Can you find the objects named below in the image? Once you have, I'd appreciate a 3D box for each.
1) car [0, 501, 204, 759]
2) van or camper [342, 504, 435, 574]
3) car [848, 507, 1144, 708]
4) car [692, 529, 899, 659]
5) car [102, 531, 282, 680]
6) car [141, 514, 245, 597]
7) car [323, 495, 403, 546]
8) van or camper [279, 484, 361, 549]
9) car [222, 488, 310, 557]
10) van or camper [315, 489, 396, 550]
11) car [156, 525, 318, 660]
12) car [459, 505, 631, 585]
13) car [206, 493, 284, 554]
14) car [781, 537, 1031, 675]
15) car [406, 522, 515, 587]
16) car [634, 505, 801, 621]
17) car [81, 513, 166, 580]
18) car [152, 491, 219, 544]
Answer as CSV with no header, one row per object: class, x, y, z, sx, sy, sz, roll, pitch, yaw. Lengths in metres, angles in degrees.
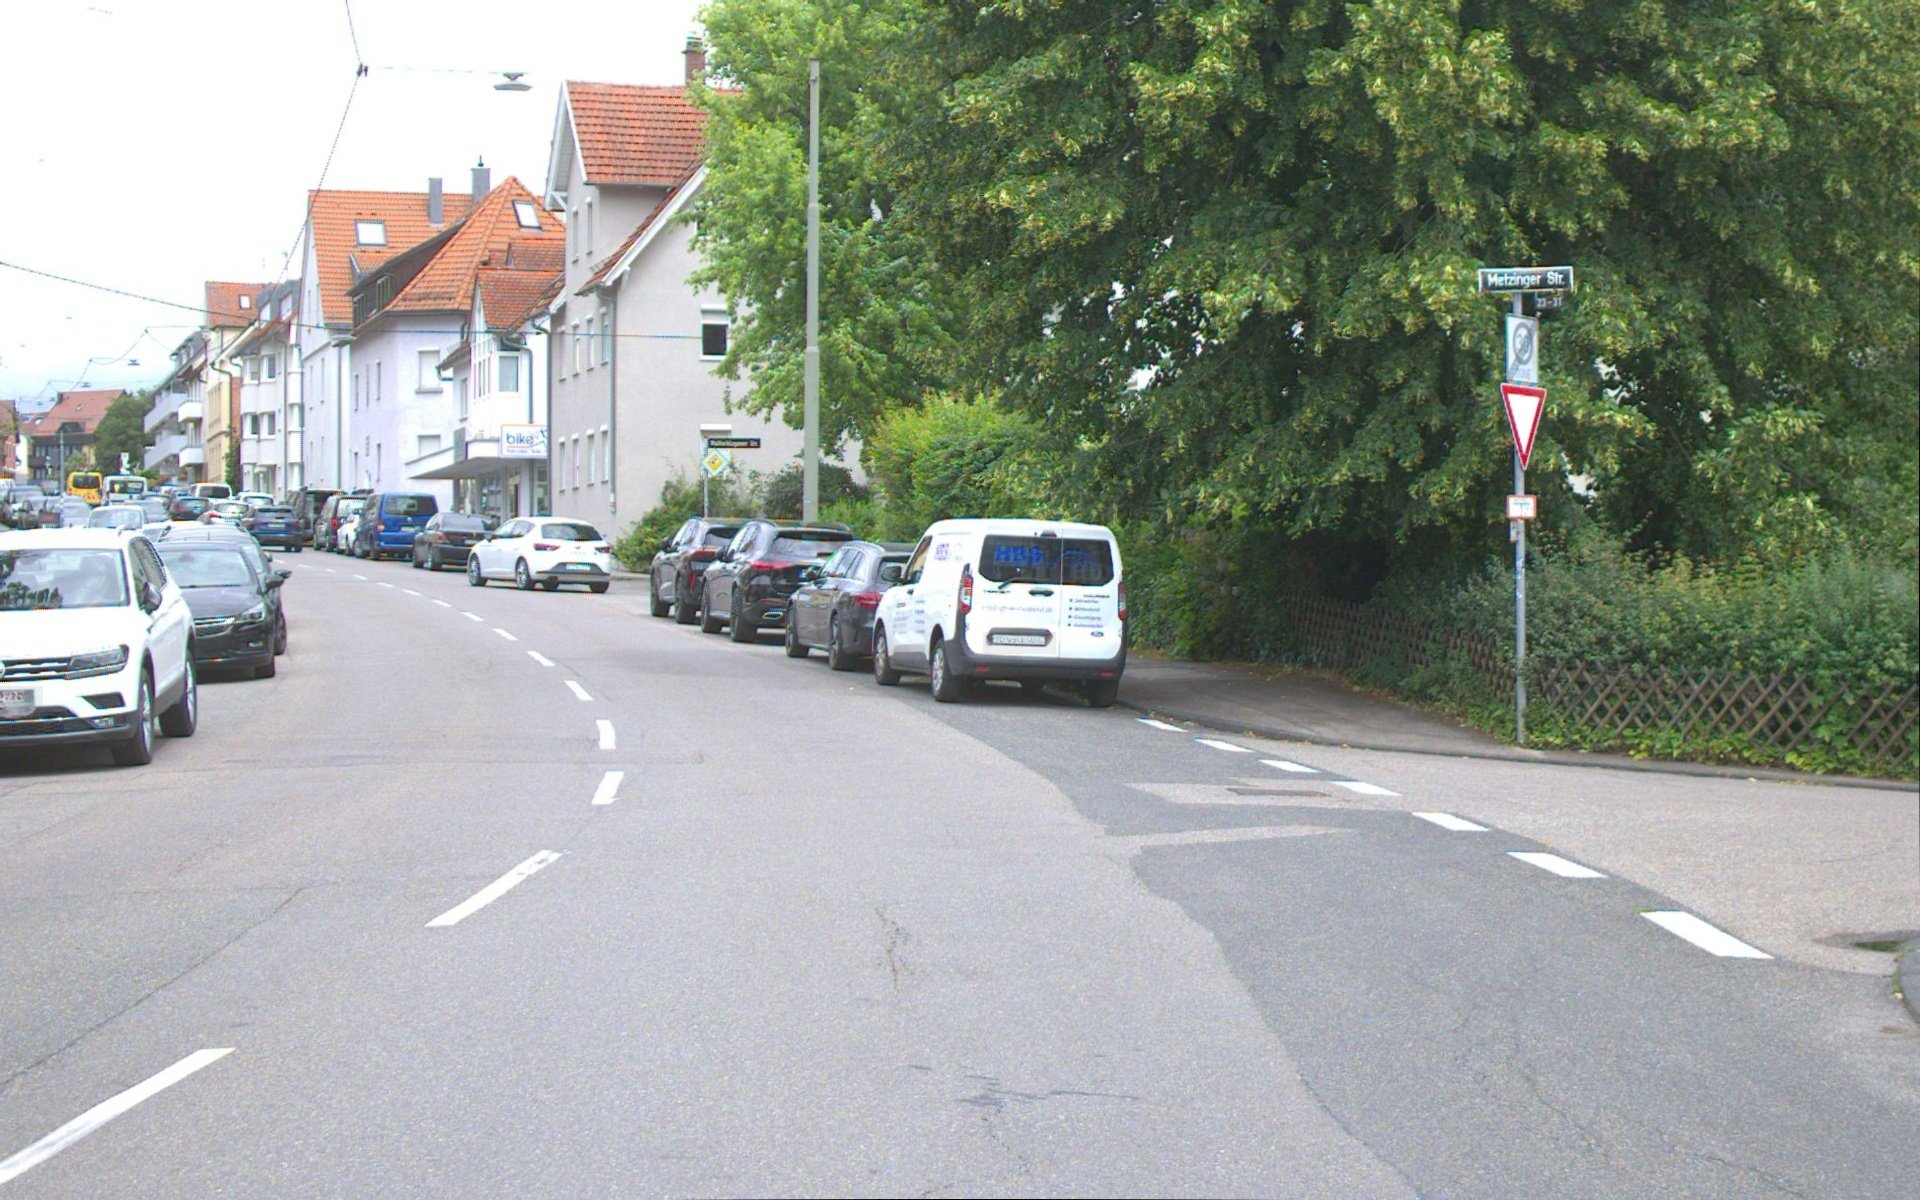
car,-6.736,0.162,25.232,1.849,1.708,4.576,-1,1,-7
van or camper,-16.446,-1.767,98.797,1.926,1.919,4.832,1,1,-18
car,0.279,0.024,34.409,1.837,1.768,4.319,3,1,-14
car,-2.287,-0.120,46.520,1.993,1.610,4.541,2,1,-13
car,-8.317,0.015,37.171,1.762,1.433,4.079,-2,2,-13
car,-14.677,-0.869,65.660,1.725,1.453,3.900,-3,2,-15
car,-18.054,-2.420,103.885,1.713,1.431,4.641,2,1,-18
van or camper,-21.950,-2.893,117.775,1.993,2.058,5.947,3,1,-17
car,-21.314,-2.381,105.460,2.151,2.007,4.001,2,1,-18
van or camper,-19.412,-2.603,110.244,1.870,1.822,4.682,2,1,-18
car,-8.852,-0.139,42.056,1.762,1.433,4.079,-4,2,-12
car,-8.167,-1.089,67.423,1.940,1.434,4.001,1,2,-29
car,-24.870,-2.663,119.493,2.151,2.007,4.001,2,1,-18
car,-0.701,0.029,39.819,1.993,1.473,4.621,0,1,-13
car,-12.827,-1.182,88.061,1.993,1.512,4.893,2,1,-17
car,-3.728,-0.584,52.098,1.810,1.610,4.541,2,1,-13
car,-21.759,-1.410,89.505,1.833,1.572,4.033,-3,2,-10
car,-30.450,-3.251,135.076,2.151,2.007,4.001,2,1,-18
